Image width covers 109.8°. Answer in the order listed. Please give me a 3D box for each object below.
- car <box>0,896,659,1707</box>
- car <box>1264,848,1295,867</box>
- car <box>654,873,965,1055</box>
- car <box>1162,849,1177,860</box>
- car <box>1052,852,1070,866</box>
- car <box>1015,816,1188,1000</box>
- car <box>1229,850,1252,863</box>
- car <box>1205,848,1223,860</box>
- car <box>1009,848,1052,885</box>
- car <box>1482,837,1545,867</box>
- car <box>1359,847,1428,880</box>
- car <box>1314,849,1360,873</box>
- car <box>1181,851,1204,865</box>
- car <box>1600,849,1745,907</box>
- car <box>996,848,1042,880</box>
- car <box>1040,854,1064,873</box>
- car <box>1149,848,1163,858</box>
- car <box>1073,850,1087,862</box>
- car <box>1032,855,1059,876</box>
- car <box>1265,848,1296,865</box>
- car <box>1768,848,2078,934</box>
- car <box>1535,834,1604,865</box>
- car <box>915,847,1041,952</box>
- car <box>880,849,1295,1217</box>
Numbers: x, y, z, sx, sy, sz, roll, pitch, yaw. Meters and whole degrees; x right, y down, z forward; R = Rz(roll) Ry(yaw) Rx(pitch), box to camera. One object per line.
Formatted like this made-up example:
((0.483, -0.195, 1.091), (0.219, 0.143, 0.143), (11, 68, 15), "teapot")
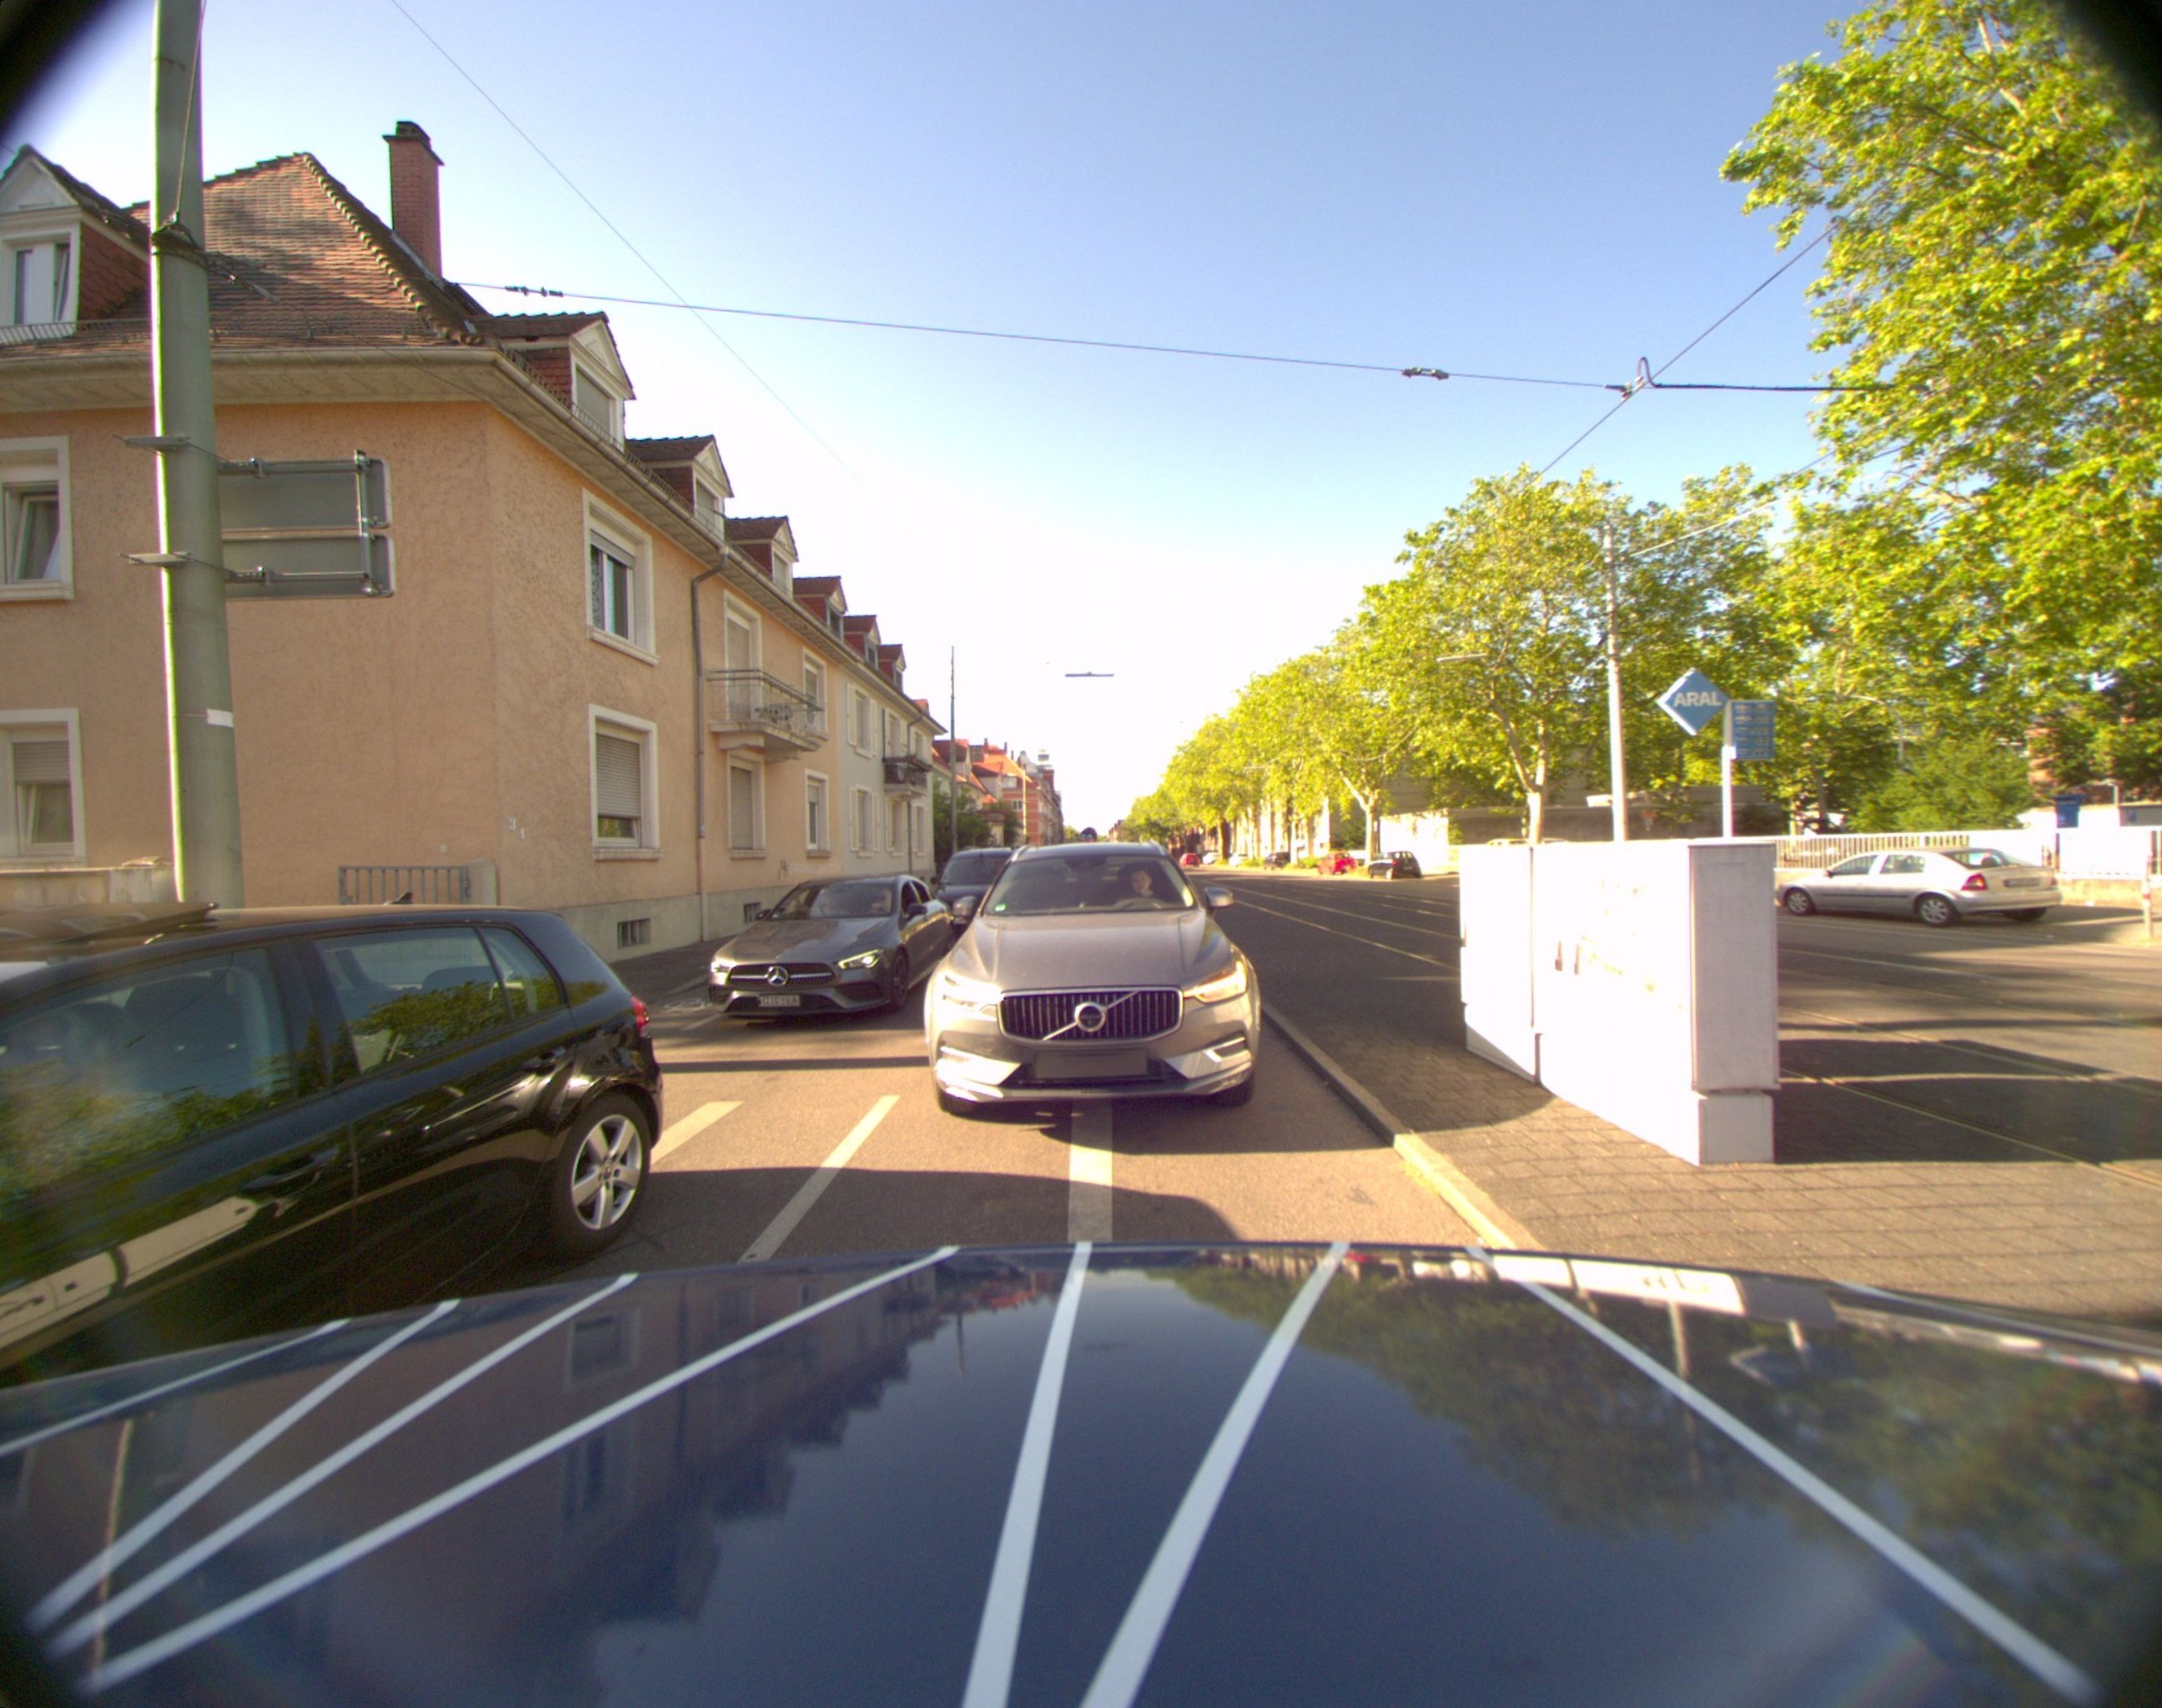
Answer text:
((-2.878, 0.931, 1.509), (1.733, 1.499, 4.051), (-2, -1, 1), "car")
((17.168, 0.319, 65.987), (1.700, 1.566, 3.999), (-1, 1, 1), "car")
((-2.785, 1.046, 9.071), (1.911, 1.411, 4.492), (-2, 1, 2), "car")
((12.830, 0.103, 110.334), (1.700, 1.412, 3.999), (7, 1, 1), "car")
((-2.183, 0.583, 85.428), (1.841, 1.449, 3.999), (-2, 1, 1), "car")
((0.240, 0.596, 11.115), (1.912, 2.048, 4.763), (-2, 1, 0), "car")
((17.516, 0.249, 83.514), (1.700, 1.401, 3.999), (-1, 1, 1), "car")
((17.663, 0.007, 100.776), (1.700, 1.548, 3.999), (-1, 1, 1), "car")
((-2.890, 0.646, 44.932), (1.937, 1.888, 7.210), (-2, 1, 1), "car")
((21.718, -0.113, 38.279), (1.545, 1.412, 3.151), (-2, 1, 4), "car")
((16.893, 0.459, 41.343), (1.753, 1.514, 4.434), (-5, 1, -1), "car")
((16.926, 0.451, 50.425), (1.700, 1.460, 3.999), (-1, 1, 1), "car")
((12.682, 0.424, 86.987), (1.912, 1.514, 4.763), (0, 1, 0), "car")
((16.383, 0.606, 21.240), (1.546, 1.412, 3.254), (-2, 1, 1), "car")
((-3.008, 0.454, 37.545), (1.841, 1.449, 3.999), (-2, 1, 1), "car")
((-2.531, 0.803, 66.990), (1.841, 1.449, 3.999), (-2, 1, 1), "car")
((13.164, -0.182, 133.927), (1.850, 1.835, 4.394), (-1, 1, -1), "car")
((-0.160, 0.270, 106.480), (1.841, 1.449, 3.999), (-2, 1, 1), "car")
((-2.826, 0.886, 60.581), (1.841, 1.449, 3.999), (-2, 1, 1), "car")
((17.286, 0.226, 65.906), (1.700, 1.401, 3.999), (-1, 1, 1), "car")
((16.256, 0.617, 15.034), (1.731, 1.412, 3.999), (-2, 1, 1), "car")
((24.137, -0.223, 37.656), (1.545, 1.412, 3.151), (-2, 1, 4), "car")
((-1.948, 0.790, 15.891), (1.866, 1.794, 4.778), (-2, 1, 1), "car")
((0.040, 0.838, 5.997), (1.912, 1.666, 4.763), (-2, 1, 0), "car")
